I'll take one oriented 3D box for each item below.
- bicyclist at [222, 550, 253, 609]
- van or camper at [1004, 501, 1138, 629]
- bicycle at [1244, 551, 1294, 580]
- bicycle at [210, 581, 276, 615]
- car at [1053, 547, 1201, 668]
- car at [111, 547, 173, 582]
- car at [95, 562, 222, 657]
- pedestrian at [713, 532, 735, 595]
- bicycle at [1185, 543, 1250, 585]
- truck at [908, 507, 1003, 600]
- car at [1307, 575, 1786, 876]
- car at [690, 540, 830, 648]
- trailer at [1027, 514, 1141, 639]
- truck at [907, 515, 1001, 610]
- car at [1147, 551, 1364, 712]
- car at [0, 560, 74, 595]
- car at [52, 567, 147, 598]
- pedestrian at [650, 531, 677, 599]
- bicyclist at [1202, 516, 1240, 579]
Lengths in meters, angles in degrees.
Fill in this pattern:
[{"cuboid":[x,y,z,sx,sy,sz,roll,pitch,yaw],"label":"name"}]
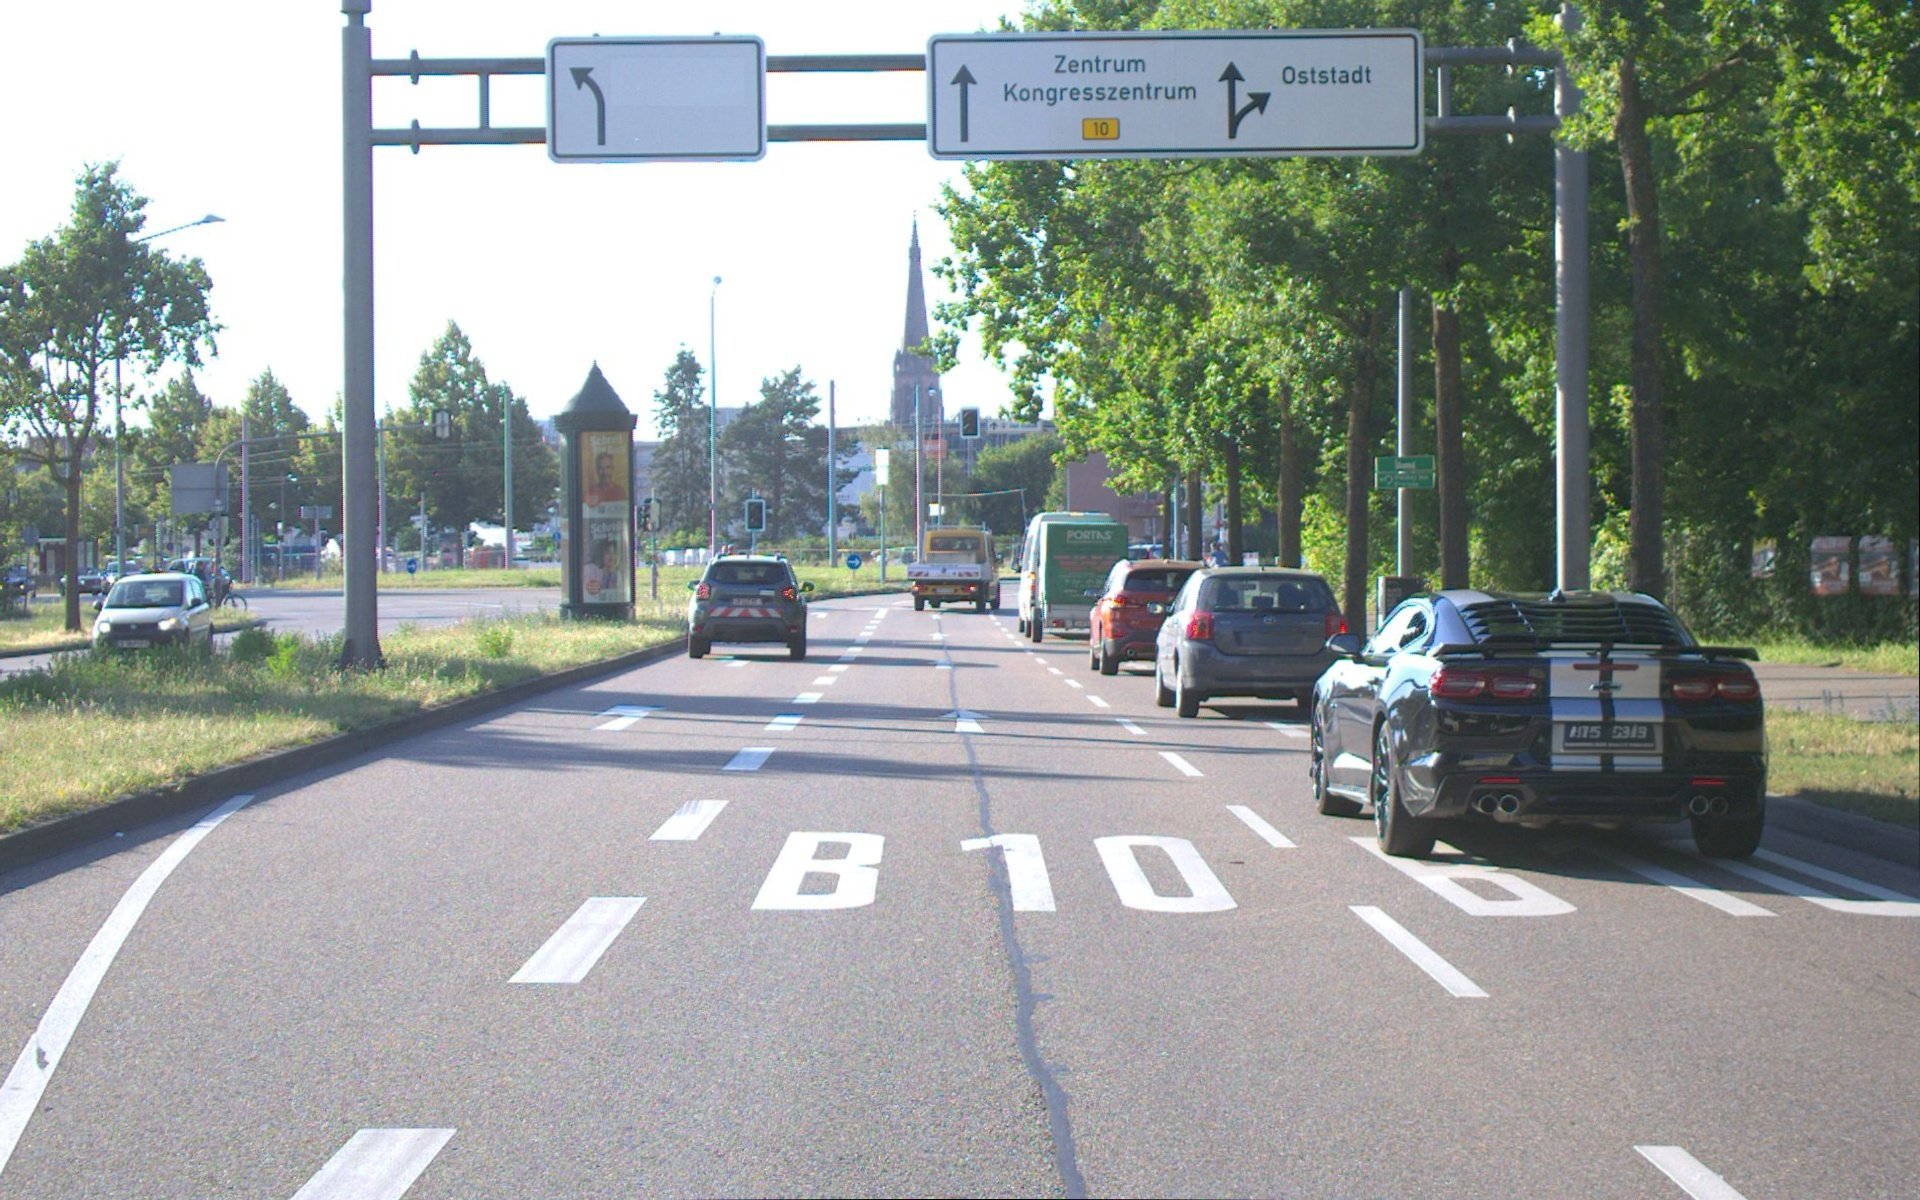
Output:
[{"cuboid":[-22.148,-0.632,105.414,0.813,1.782,0.496,1,1,8],"label":"bicyclist"},{"cuboid":[2.336,-0.792,74.355,2.284,2.620,6.584,1,1,-3],"label":"van or camper"},{"cuboid":[9.658,-1.077,107.332,1.459,0.783,0.440,-6,4,-20],"label":"bicycle"},{"cuboid":[-21.988,-0.065,105.421,1.909,1.016,0.504,1,1,7],"label":"bicycle"},{"cuboid":[2.307,0.077,48.288,1.747,1.615,3.820,1,1,-2],"label":"car"},{"cuboid":[-36.046,-1.576,151.538,1.903,1.439,4.140,-1,1,-3],"label":"car"},{"cuboid":[-13.867,0.145,59.639,1.562,1.569,3.413,-1,1,-3],"label":"car"},{"cuboid":[-6.983,-1.088,101.891,0.486,1.837,0.719,-1,1,9],"label":"pedestrian"},{"cuboid":[7.934,-1.112,105.949,1.908,1.240,0.608,-2,1,36],"label":"bicycle"},{"cuboid":[-0.086,-1.364,98.942,2.580,2.549,6.252,-1,1,1],"label":"truck"},{"cuboid":[2.986,0.572,18.464,1.854,1.333,4.625,1,1,1],"label":"car"},{"cuboid":[-3.144,-0.122,54.732,1.905,1.654,4.000,-1,1,1],"label":"car"},{"cuboid":[2.438,-0.484,68.263,2.090,2.392,3.501,1,1,0],"label":"trailer"},{"cuboid":[-0.136,-1.104,98.291,2.220,2.642,4.773,0,1,5],"label":"truck"},{"cuboid":[2.904,0.274,34.466,1.747,1.468,3.820,-1,1,-1],"label":"car"},{"cuboid":[-41.983,-1.025,155.681,1.669,1.436,3.611,-1,2,23],"label":"car"},{"cuboid":[-41.837,-0.853,167.212,4.138,1.371,1.671,-1,2,15],"label":"car"},{"cuboid":[-8.867,-1.050,102.744,0.789,2.007,0.701,0,1,-6],"label":"pedestrian"},{"cuboid":[8.030,-1.620,105.864,0.938,1.892,0.600,-1,1,36],"label":"bicyclist"}]
